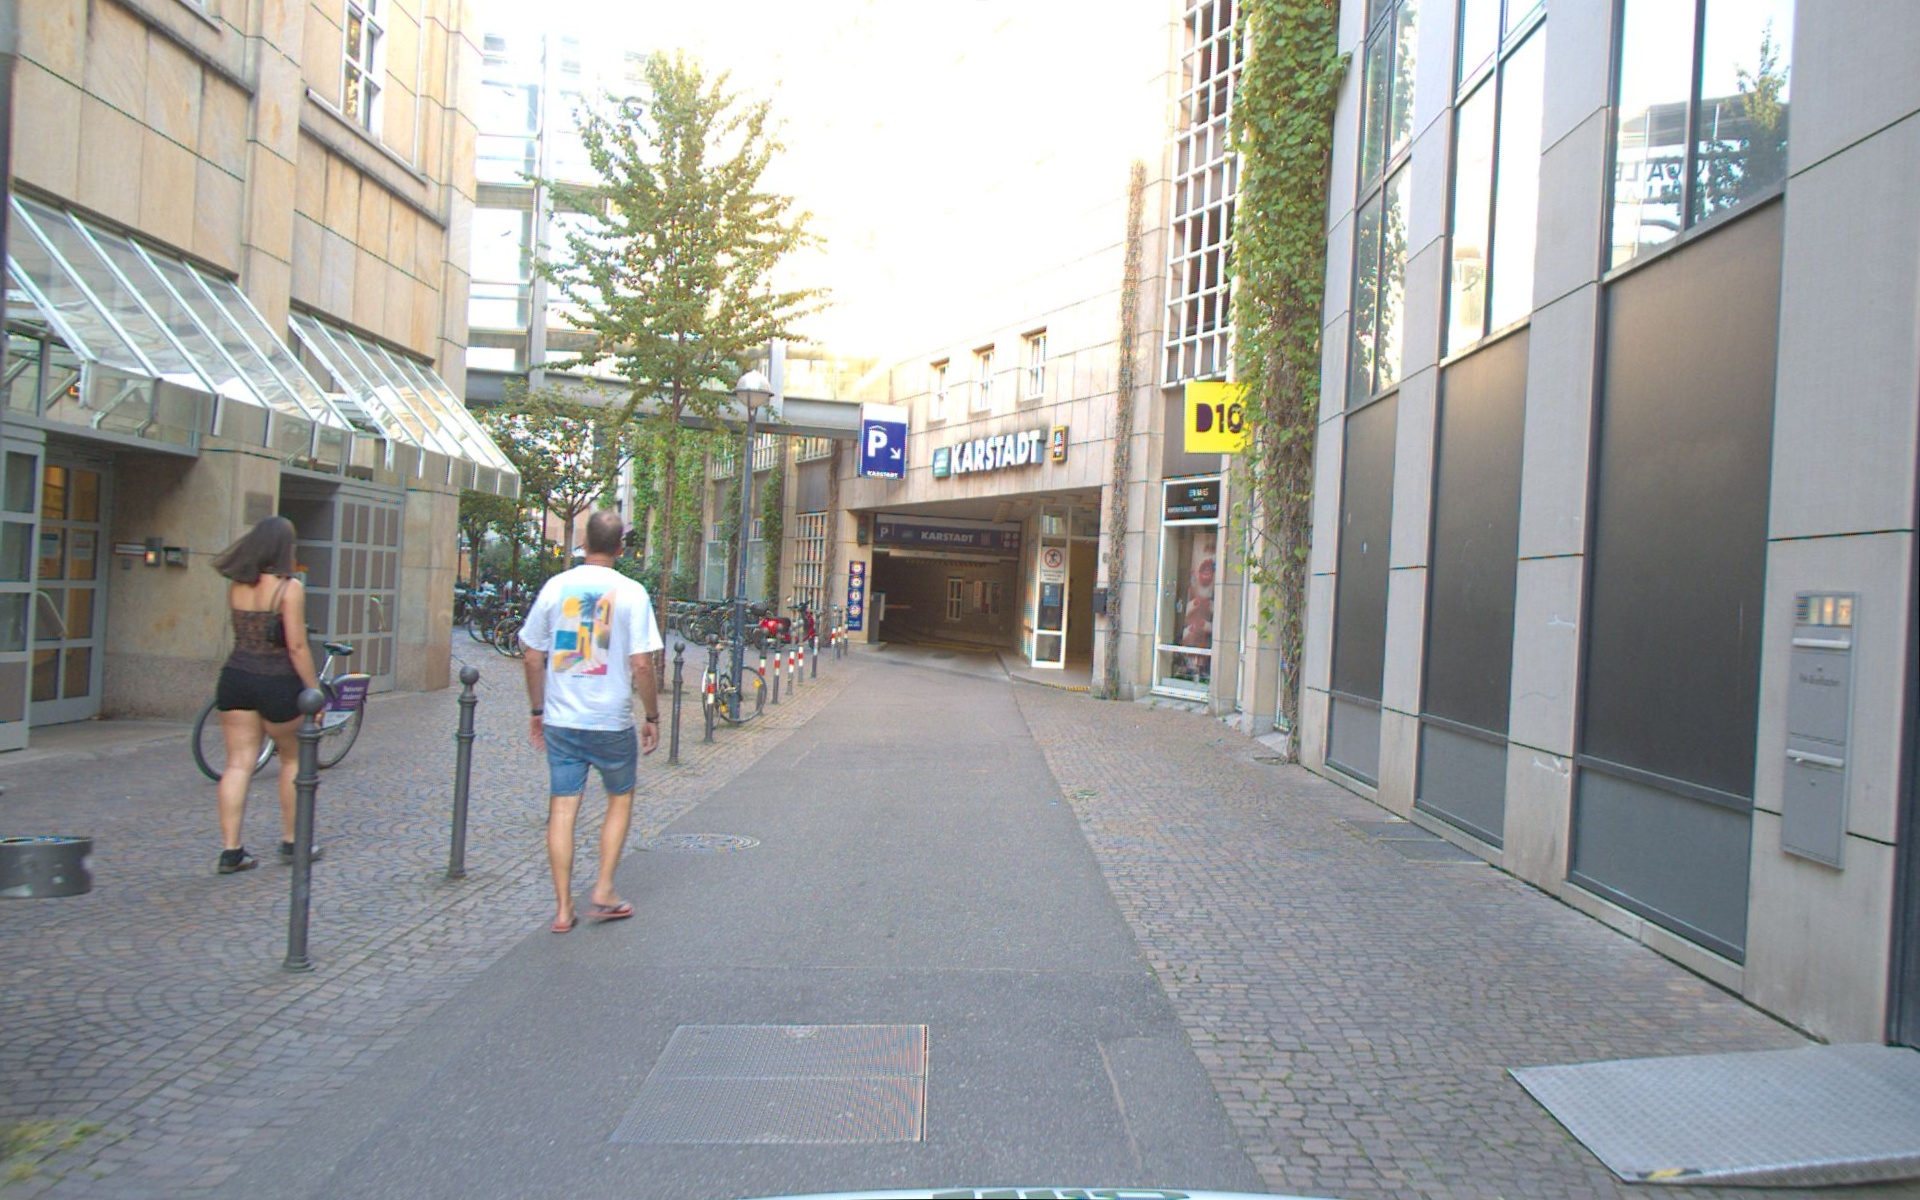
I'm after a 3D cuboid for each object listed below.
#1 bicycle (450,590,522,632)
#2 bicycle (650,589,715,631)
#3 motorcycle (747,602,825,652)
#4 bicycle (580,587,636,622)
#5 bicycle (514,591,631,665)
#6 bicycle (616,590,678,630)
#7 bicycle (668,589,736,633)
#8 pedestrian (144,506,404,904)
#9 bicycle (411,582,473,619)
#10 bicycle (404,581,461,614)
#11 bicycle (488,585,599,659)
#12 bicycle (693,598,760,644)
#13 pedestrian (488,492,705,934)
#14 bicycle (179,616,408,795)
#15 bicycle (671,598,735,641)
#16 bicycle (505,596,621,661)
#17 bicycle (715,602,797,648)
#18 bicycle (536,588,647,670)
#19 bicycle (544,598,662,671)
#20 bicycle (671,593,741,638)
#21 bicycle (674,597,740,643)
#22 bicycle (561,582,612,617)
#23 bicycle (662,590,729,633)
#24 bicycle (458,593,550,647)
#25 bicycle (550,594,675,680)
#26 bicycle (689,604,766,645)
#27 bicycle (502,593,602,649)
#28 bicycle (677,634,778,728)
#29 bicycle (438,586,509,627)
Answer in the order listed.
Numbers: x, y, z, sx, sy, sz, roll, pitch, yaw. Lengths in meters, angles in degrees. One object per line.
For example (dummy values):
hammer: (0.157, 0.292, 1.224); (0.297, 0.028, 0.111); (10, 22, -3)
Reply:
bicycle: (-12.431, 0.286, 43.378); (1.756, 1.037, 0.478); (2, 0, -23)
bicycle: (-7.967, 0.287, 47.464); (1.748, 1.134, 0.539); (2, 0, -21)
motorcycle: (-3.919, 0.610, 37.244); (1.639, 1.069, 0.461); (2, 0, -21)
bicycle: (-11.826, 0.152, 55.550); (1.746, 1.134, 0.540); (2, 0, -19)
bicycle: (-6.598, 0.483, 28.168); (1.847, 1.198, 0.530); (2, 0, -23)
bicycle: (-9.410, 0.290, 49.698); (1.748, 1.134, 0.539); (2, 0, -21)
bicycle: (-7.054, 0.295, 45.245); (1.748, 1.134, 0.539); (2, 0, -21)
pedestrian: (-3.379, 0.487, 8.232); (0.768, 1.826, 0.973); (2, 0, 5)
bicycle: (-17.112, 0.014, 54.622); (1.878, 1.131, 0.478); (2, 0, -23)
bicycle: (-18.735, -0.088, 58.716); (1.878, 1.131, 0.478); (2, 0, -23)
bicycle: (-7.390, 0.392, 29.360); (1.808, 1.246, 0.530); (2, 0, -23)
bicycle: (-5.733, 0.510, 40.644); (1.517, 1.067, 0.572); (2, 0, -21)
pedestrian: (-1.615, 0.478, 7.479); (0.727, 1.854, 0.878); (2, 0, -1)
bicycle: (-4.704, 0.703, 11.814); (0.510, 1.157, 1.766); (2, 0, 15)
bicycle: (-6.680, 0.508, 43.003); (1.517, 1.067, 0.572); (2, 0, -21)
bicycle: (-6.878, 0.502, 28.694); (1.868, 1.070, 0.530); (2, 0, -23)
bicycle: (-4.791, 0.591, 38.857); (1.821, 0.999, 0.461); (2, 0, -21)
bicycle: (-5.877, 0.467, 26.375); (1.631, 1.252, 0.530); (2, 0, -23)
bicycle: (-5.875, 0.576, 27.225); (1.811, 1.142, 0.530); (2, 0, -23)
bicycle: (-6.787, 0.407, 44.175); (1.748, 1.134, 0.539); (2, 0, -21)
bicycle: (-6.363, 0.503, 41.611); (1.517, 1.067, 0.572); (2, 0, -21)
bicycle: (-13.690, -0.009, 60.601); (1.748, 1.211, 0.583); (2, 0, -21)
bicycle: (-7.423, 0.329, 46.441); (1.748, 1.134, 0.539); (2, 0, -21)
bicycle: (-9.610, 0.423, 34.869); (1.800, 1.061, 0.530); (2, 0, -23)
bicycle: (-5.262, 0.566, 25.065); (1.742, 1.252, 0.530); (2, 0, -23)
bicycle: (-5.582, 0.584, 39.696); (1.748, 0.919, 0.461); (2, 0, -21)
bicycle: (-8.174, 0.424, 33.133); (1.851, 1.061, 0.530); (2, 0, -23)
bicycle: (-2.602, 0.889, 18.660); (0.482, 0.955, 1.660); (4, 0, 14)
bicycle: (-13.001, 0.173, 44.207); (1.756, 1.037, 0.478); (2, 0, -23)
